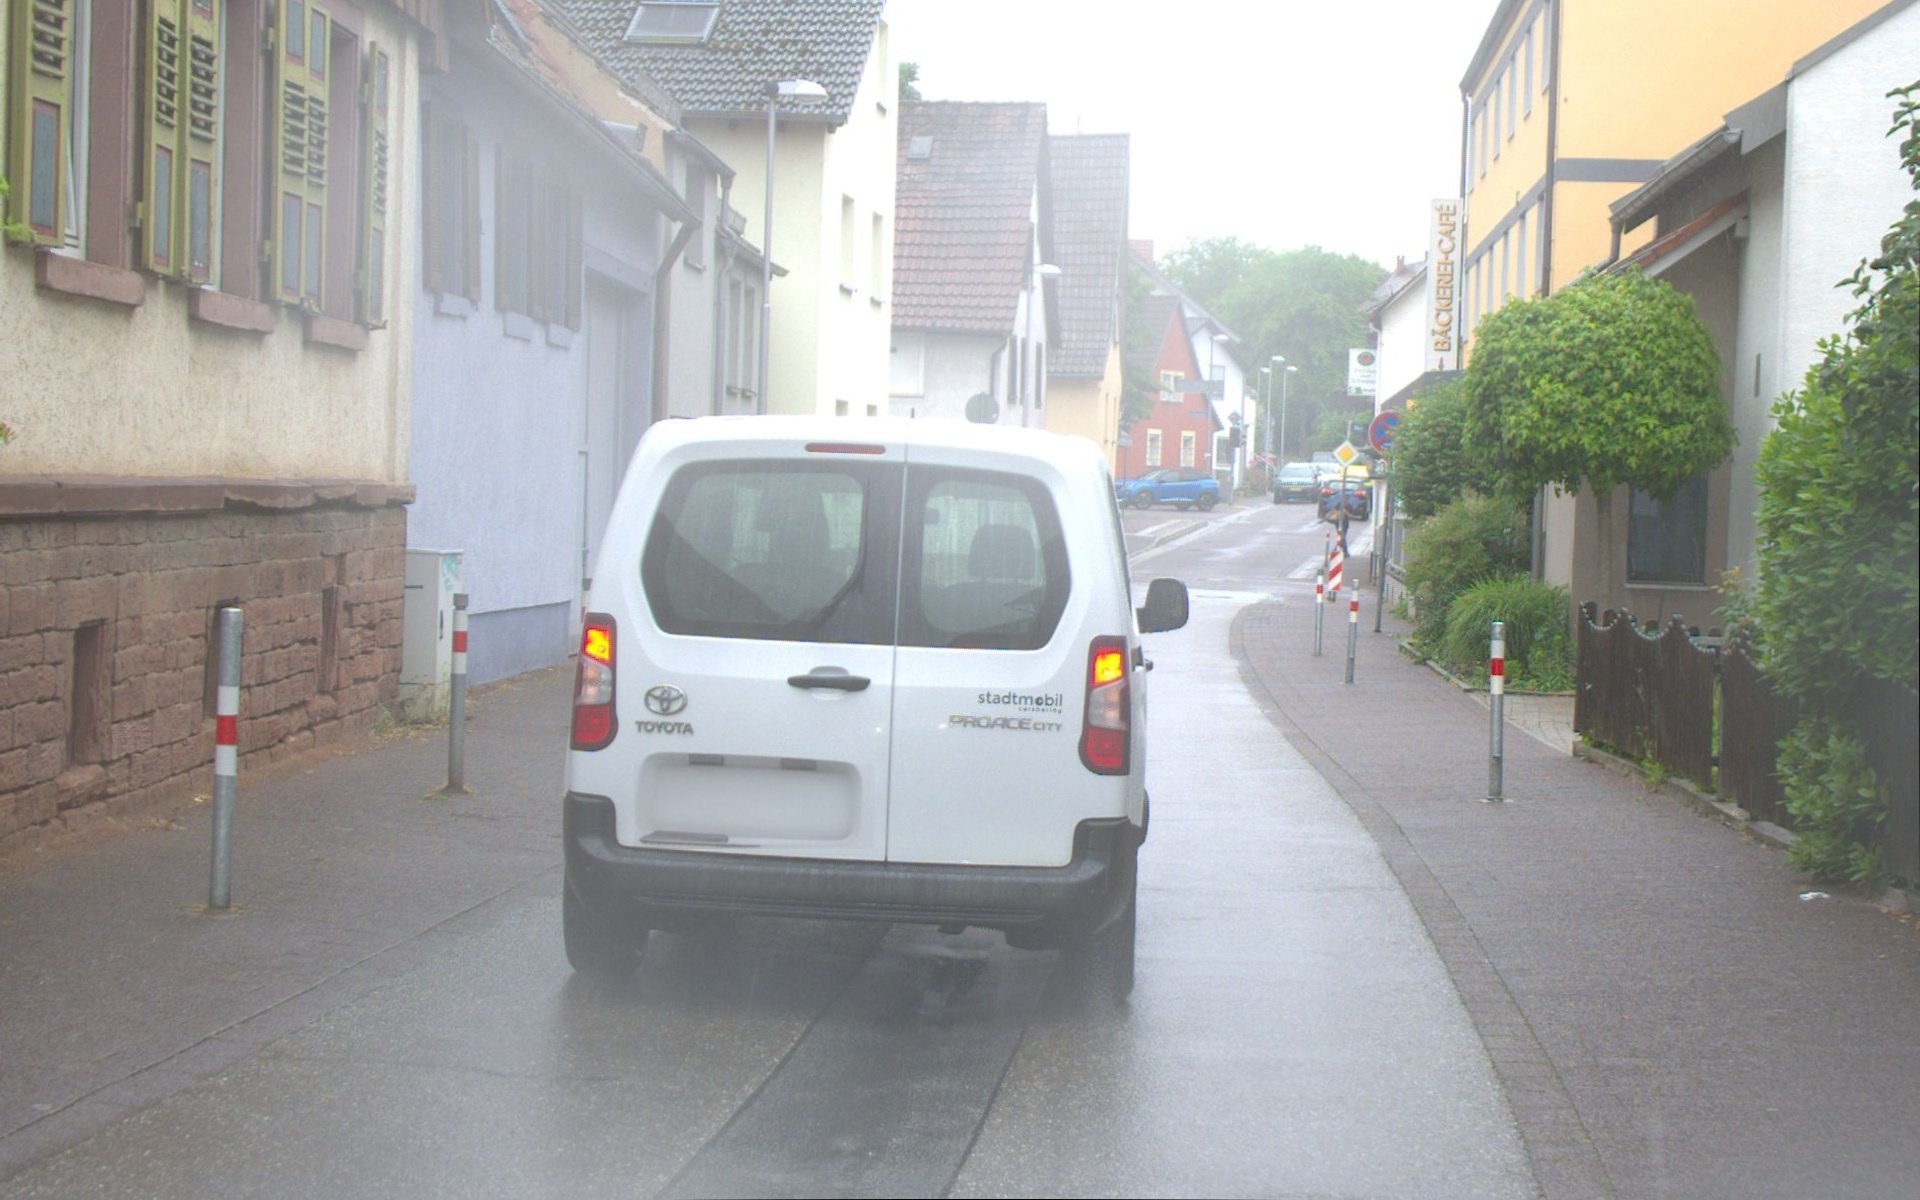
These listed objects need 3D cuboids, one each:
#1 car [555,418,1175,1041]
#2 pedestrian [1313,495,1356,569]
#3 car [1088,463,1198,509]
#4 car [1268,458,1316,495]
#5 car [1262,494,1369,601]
[{"bbox_3d":[-0.186,0.330,11.967,1.775,1.774,4.000,1,1,3],"label":"car"},{"bbox_3d":[9.761,-1.769,89.534,1.051,1.886,0.877,1,1,4],"label":"pedestrian"},{"bbox_3d":[6.619,-4.127,124.310,3.420,1.554,2.001,-3,3,-26],"label":"car"},{"bbox_3d":[14.205,-5.276,147.016,1.589,1.436,3.764,4,2,11],"label":"car"},{"bbox_3d":[7.007,-1.049,67.502,1.994,2.007,3.999,1,1,7],"label":"car"}]
